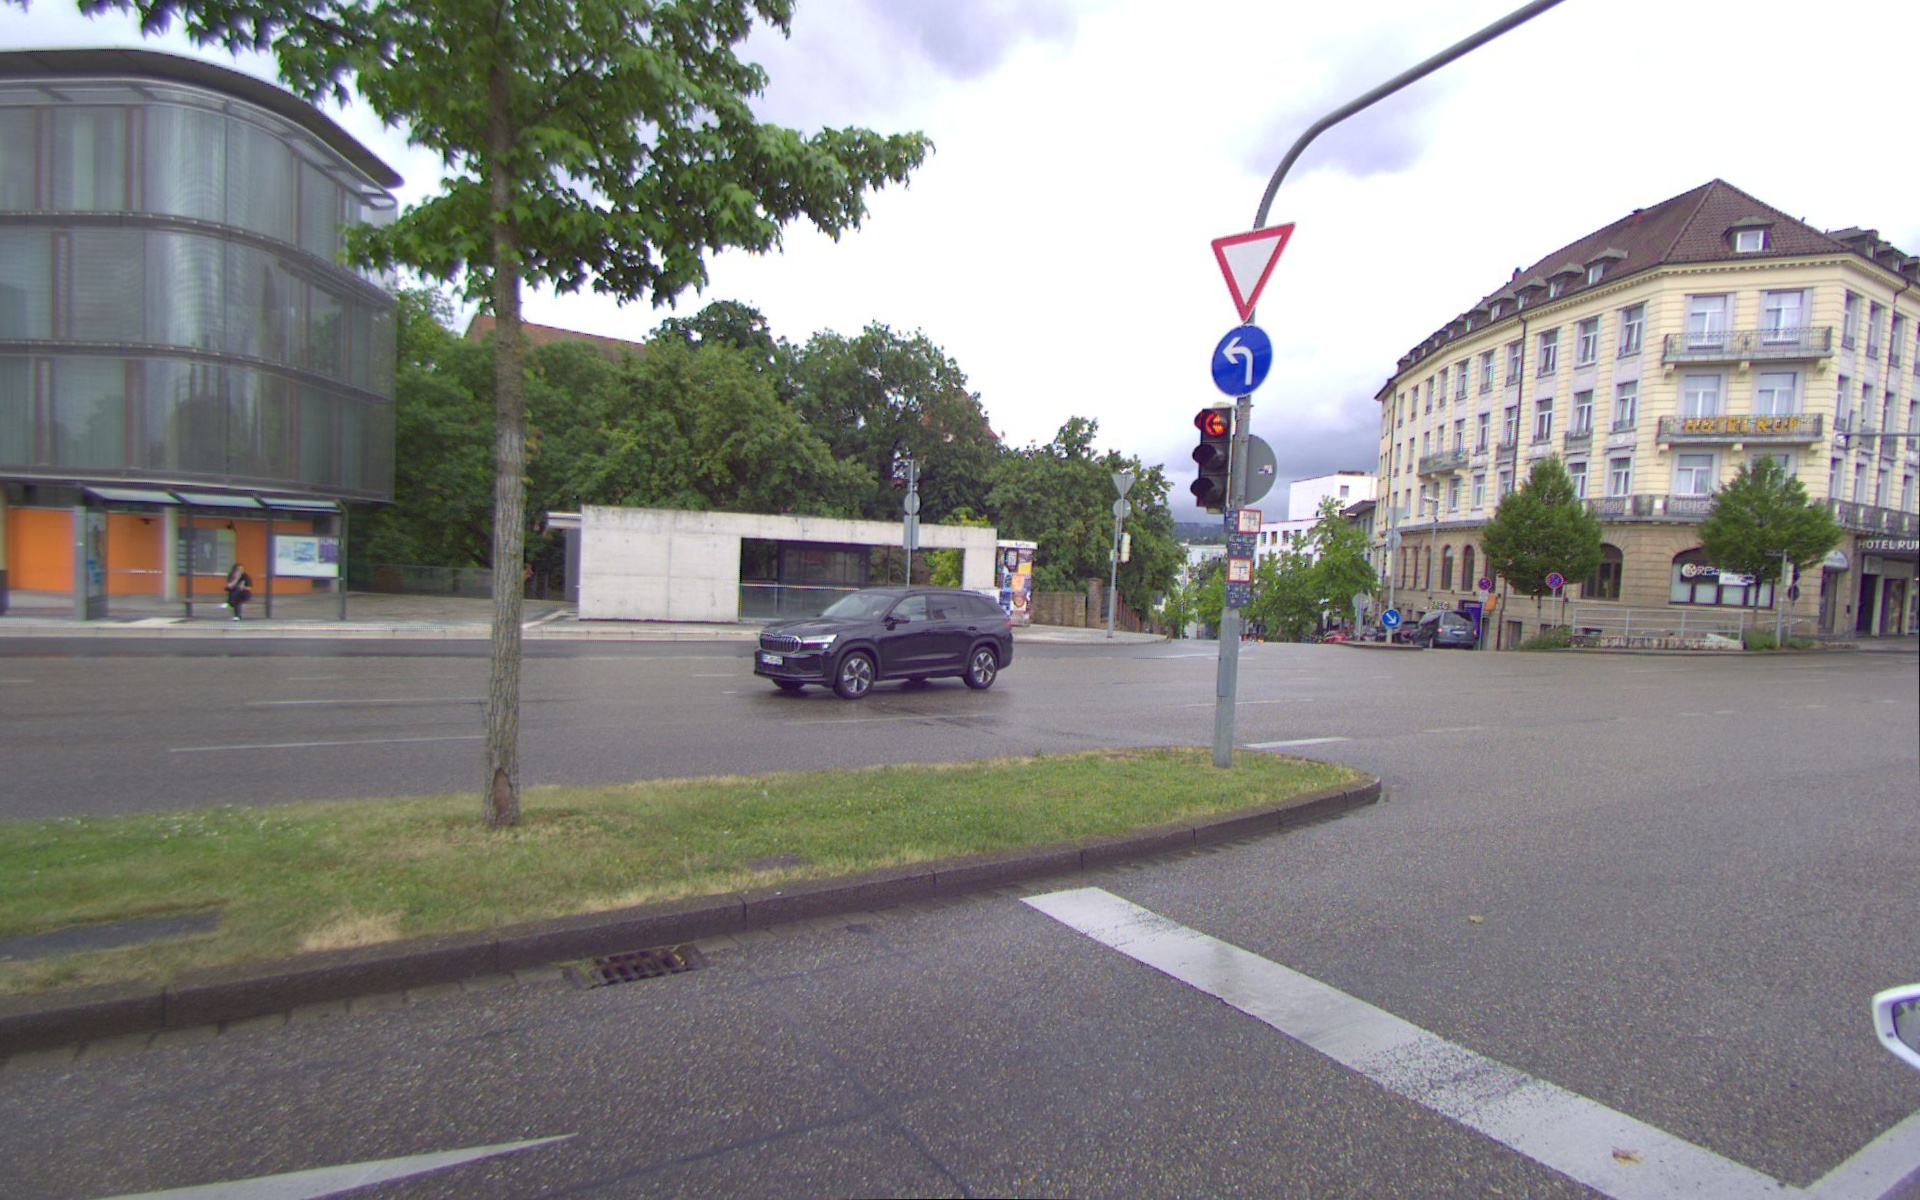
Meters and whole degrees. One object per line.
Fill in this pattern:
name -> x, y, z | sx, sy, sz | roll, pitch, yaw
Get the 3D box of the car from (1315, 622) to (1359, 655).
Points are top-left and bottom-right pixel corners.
car -> 23.657, 2.369, 63.097 | 1.741, 1.836, 3.624 | 2, 1, 7

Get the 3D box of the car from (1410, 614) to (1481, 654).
car -> 21.806, 1.491, 45.237 | 1.764, 1.589, 4.002 | 2, 1, 9

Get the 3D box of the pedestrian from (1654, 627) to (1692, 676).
pedestrian -> 28.890, 2.081, 40.680 | 1.010, 1.903, 0.859 | 1, 1, -30

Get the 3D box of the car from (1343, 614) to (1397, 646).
car -> 23.233, 1.672, 57.043 | 1.757, 1.662, 3.916 | 2, 1, 6

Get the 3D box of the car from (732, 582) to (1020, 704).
car -> -1.207, 0.617, 16.185 | 1.802, 1.662, 4.572 | 3, 1, 44

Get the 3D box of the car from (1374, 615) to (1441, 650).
car -> 22.978, 1.623, 51.744 | 1.959, 1.662, 4.002 | 2, 0, 6

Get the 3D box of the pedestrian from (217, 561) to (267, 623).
pedestrian -> -16.014, -0.181, 22.425 | 0.780, 1.341, 0.798 | 1, 1, -28
